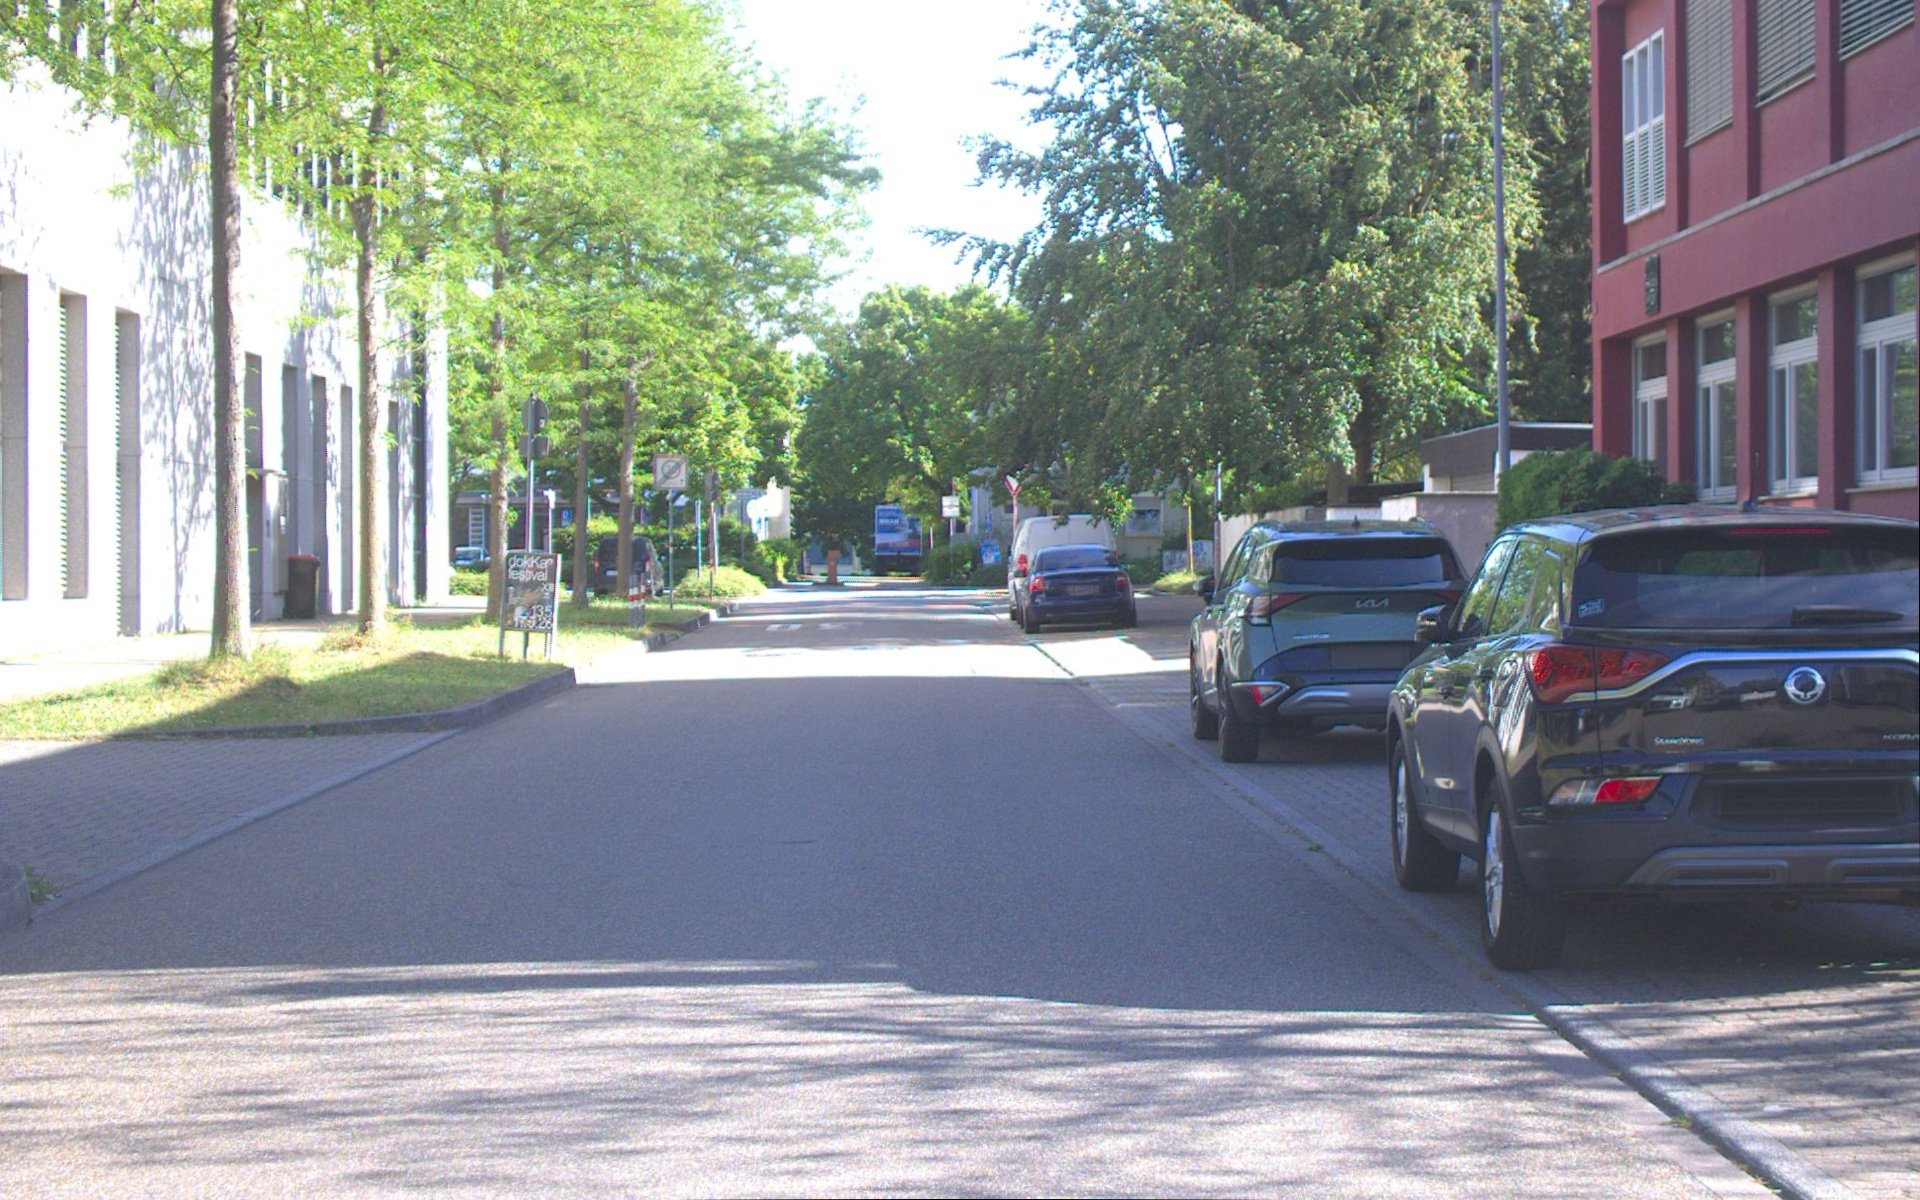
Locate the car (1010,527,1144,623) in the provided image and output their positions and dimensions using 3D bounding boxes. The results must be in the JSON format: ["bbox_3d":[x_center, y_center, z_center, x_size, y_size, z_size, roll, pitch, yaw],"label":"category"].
[{"bbox_3d":[1.899,-0.435,56.945,1.993,1.437,4.000,-3,1,0],"label":"car"}]

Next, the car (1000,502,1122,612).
[{"bbox_3d":[1.811,-0.795,62.739,1.993,1.828,4.000,-3,1,0],"label":"car"}]

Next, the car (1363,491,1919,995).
[{"bbox_3d":[2.716,0.425,13.232,1.838,1.628,4.201,0,1,0],"label":"car"}]

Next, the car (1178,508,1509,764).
[{"bbox_3d":[2.618,0.221,24.331,1.855,1.642,4.000,-1,0,0],"label":"car"}]
